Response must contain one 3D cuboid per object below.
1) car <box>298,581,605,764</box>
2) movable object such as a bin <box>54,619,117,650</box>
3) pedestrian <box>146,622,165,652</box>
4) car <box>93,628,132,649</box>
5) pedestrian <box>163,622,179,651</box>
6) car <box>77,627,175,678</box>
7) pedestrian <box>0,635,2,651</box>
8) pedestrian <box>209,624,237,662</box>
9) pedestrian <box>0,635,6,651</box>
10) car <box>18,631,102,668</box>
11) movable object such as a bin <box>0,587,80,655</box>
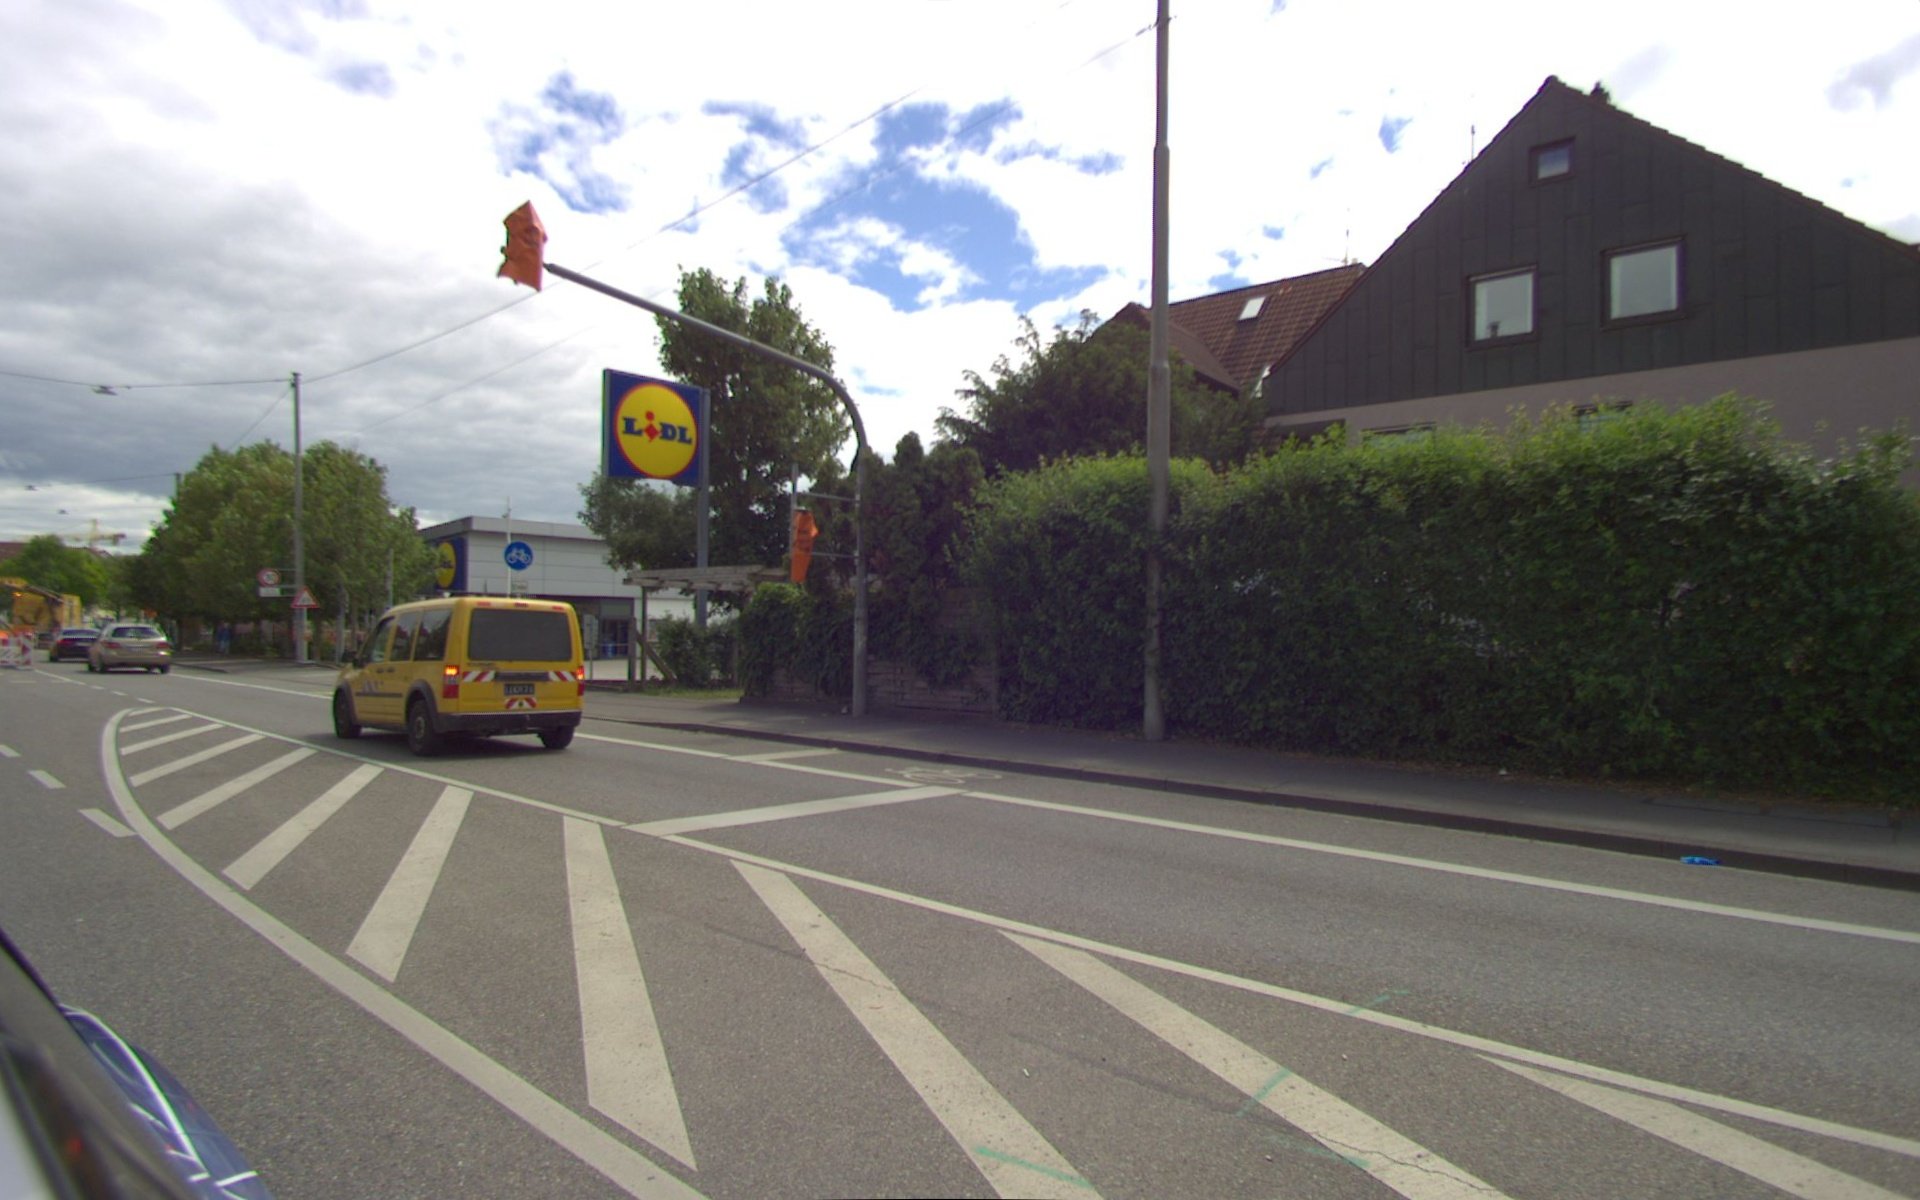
[{"bbox_3d":[-6.599,0.834,12.879,4.683,1.919,1.822,-1,-3,41],"label":"car"},{"bbox_3d":[-77.975,3.079,90.380,1.965,2.646,6.543,2,-3,-20],"label":"movable object such as a bin"},{"bbox_3d":[-50.889,2.331,64.020,0.685,1.861,0.624,2,-3,-20],"label":"pedestrian"},{"bbox_3d":[-62.535,2.815,74.619,1.833,1.525,4.002,3,-3,-45],"label":"car"},{"bbox_3d":[-49.734,2.297,63.793,0.616,1.861,0.624,2,-3,-20],"label":"pedestrian"},{"bbox_3d":[-27.188,1.676,32.939,4.400,1.567,1.731,-2,-4,41],"label":"car"},{"bbox_3d":[-60.757,2.677,63.411,0.779,0.998,0.814,2,-3,-20],"label":"pedestrian"},{"bbox_3d":[-31.617,1.859,43.400,0.829,1.615,0.745,-1,-3,39],"label":"pedestrian"},{"bbox_3d":[-59.893,2.673,62.830,0.632,0.998,0.795,1,-3,-10],"label":"pedestrian"},{"bbox_3d":[-37.450,2.042,42.080,4.809,1.410,1.972,-1,-5,41],"label":"car"},{"bbox_3d":[-63.070,1.535,69.454,2.556,4.254,11.149,3,-3,-34],"label":"movable object such as a bin"}]
